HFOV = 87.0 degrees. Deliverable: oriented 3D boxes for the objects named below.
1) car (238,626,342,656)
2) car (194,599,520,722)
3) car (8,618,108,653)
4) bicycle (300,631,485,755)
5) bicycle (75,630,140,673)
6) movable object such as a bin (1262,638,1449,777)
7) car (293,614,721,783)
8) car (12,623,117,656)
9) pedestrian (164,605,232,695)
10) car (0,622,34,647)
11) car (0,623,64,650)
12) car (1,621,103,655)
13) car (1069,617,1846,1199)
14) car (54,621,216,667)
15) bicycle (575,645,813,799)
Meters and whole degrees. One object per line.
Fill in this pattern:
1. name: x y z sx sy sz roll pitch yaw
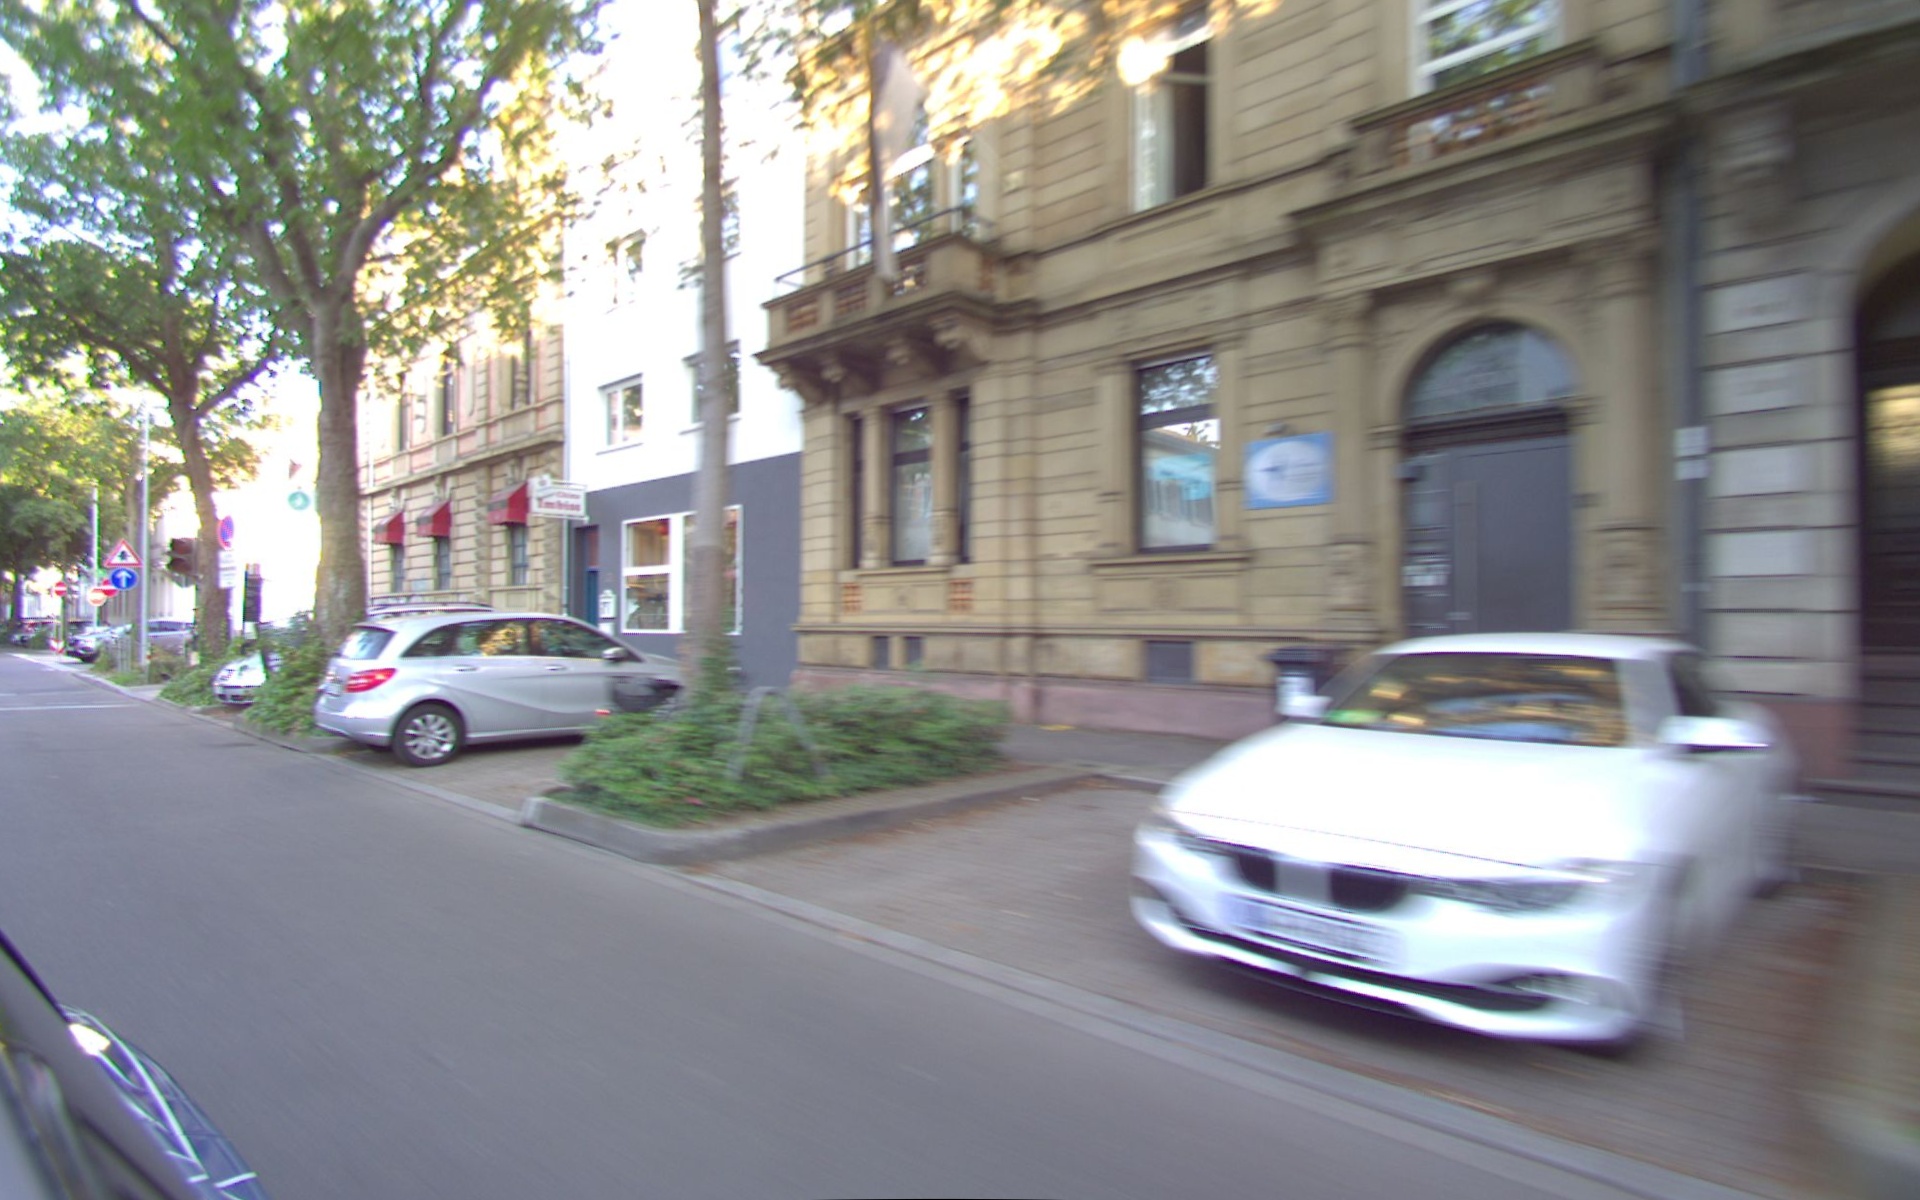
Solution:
1. car: -34.618 2.099 52.448 4.197 1.542 1.839 0 -2 -22
2. car: -10.105 0.909 17.231 1.890 1.735 4.378 -1 0 42
3. car: -52.045 2.022 58.432 1.996 1.966 3.952 -1 -2 35
4. bicycle: -6.741 1.055 12.100 0.773 1.336 1.777 -2 -1 38
5. bicycle: -26.260 1.576 31.223 0.793 1.234 2.425 -3 -1 -22
6. movable object such as a bin: 3.477 0.896 8.934 1.317 1.070 0.792 -1 0 43
7. car: -5.039 0.957 11.620 4.121 1.569 1.828 0 -1 -44
8. car: -48.400 2.113 54.733 1.796 1.682 3.952 -1 -2 35
9. pedestrian: -15.504 1.007 20.603 0.757 1.790 0.830 0 -1 5
10. car: -68.339 2.449 71.547 1.841 1.722 3.952 -1 -2 35
11. car: -59.888 2.305 64.418 1.996 1.722 3.952 -1 -2 35
12. car: -50.543 2.080 56.409 1.796 1.825 3.952 -1 -2 35
13. car: 2.665 0.789 4.744 4.461 1.401 1.917 1 -1 -45
14. car: -30.927 1.613 38.097 1.936 1.582 4.325 0 -1 24
15. bicycle: -2.068 0.907 8.050 0.599 1.016 1.774 -1 0 44
